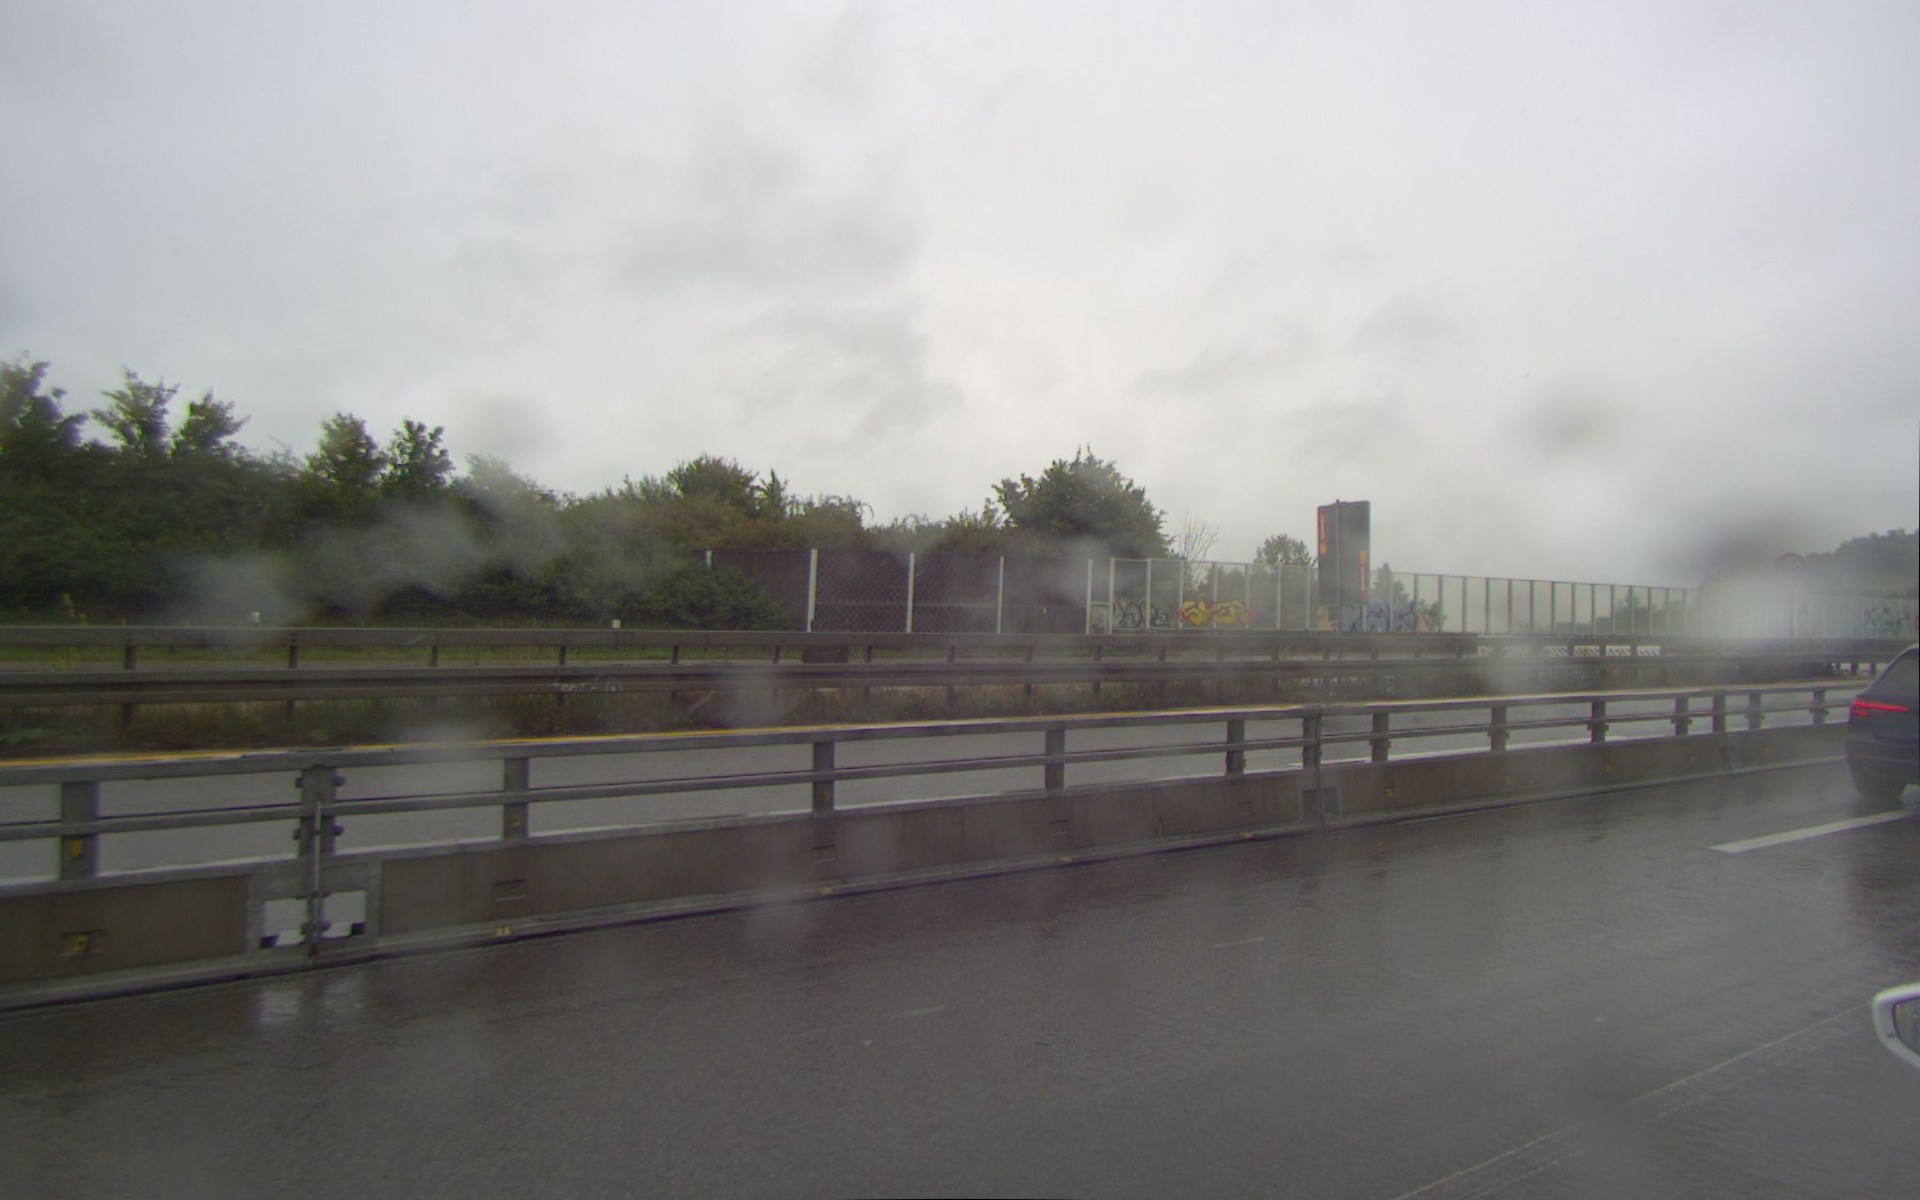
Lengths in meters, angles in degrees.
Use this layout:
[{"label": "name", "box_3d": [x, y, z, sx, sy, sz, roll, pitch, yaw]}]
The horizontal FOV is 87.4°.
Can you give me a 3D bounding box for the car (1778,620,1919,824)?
[{"label": "car", "box_3d": [9.265, 1.000, 8.625, 4.576, 1.517, 1.984, 2, 0, -30]}]
